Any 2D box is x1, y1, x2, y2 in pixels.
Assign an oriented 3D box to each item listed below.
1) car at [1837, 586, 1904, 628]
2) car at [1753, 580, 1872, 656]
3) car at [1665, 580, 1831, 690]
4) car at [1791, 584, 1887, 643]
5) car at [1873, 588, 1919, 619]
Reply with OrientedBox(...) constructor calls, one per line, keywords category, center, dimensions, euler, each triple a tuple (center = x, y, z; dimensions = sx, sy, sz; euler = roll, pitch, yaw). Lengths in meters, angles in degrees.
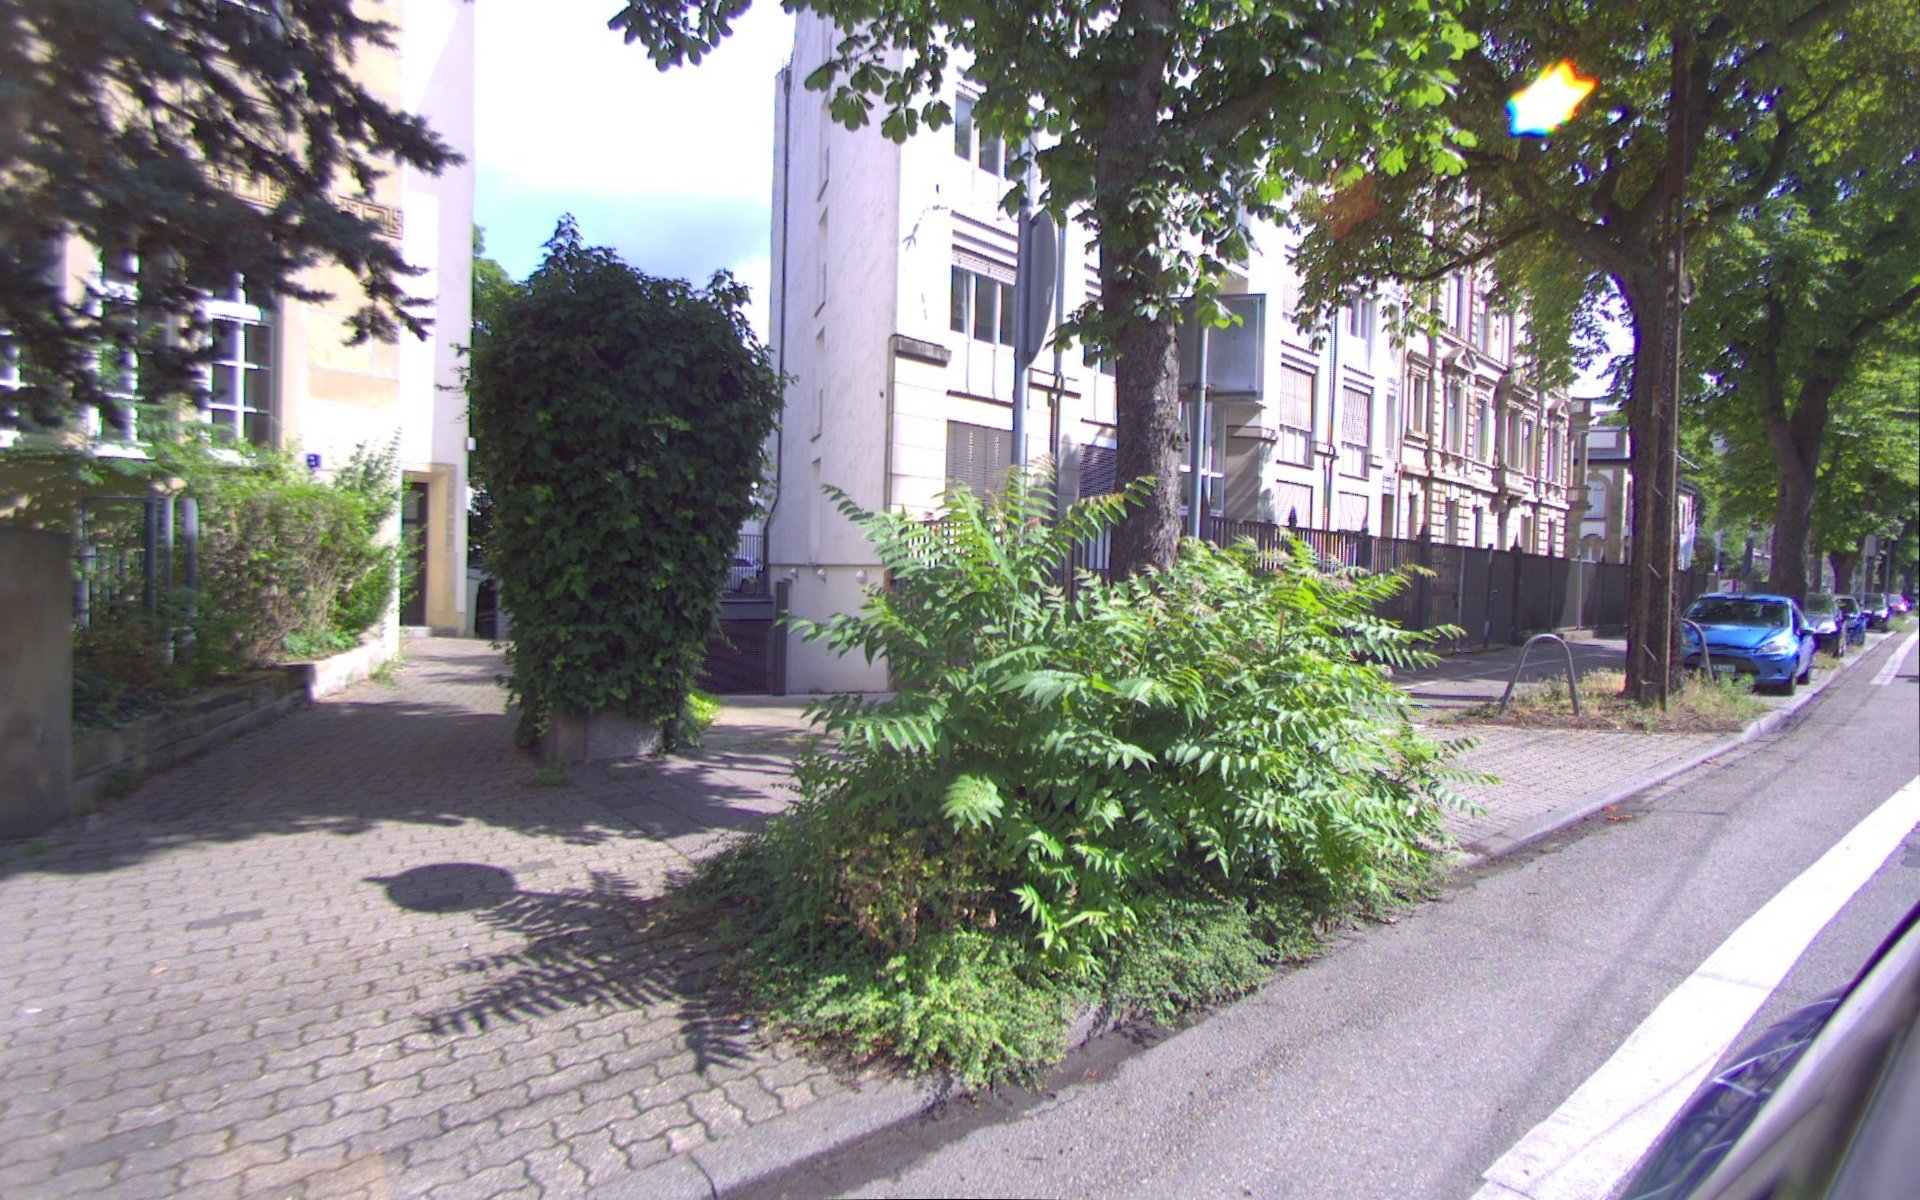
OrientedBox(category="car", center=(38.357, 0.253, 42.591), dimensions=(4.131, 1.549, 1.772), euler=(0, 4, -45))
OrientedBox(category="car", center=(19.823, 0.367, 23.488), dimensions=(3.562, 1.526, 1.643), euler=(0, 4, -44))
OrientedBox(category="car", center=(12.715, 0.474, 16.253), dimensions=(1.639, 1.472, 3.639), euler=(5, 4, 44))
OrientedBox(category="car", center=(25.414, 0.345, 29.210), dimensions=(3.861, 1.469, 1.722), euler=(0, 4, -44))
OrientedBox(category="car", center=(54.244, 0.193, 58.526), dimensions=(4.131, 1.591, 1.772), euler=(0, 4, -45))
